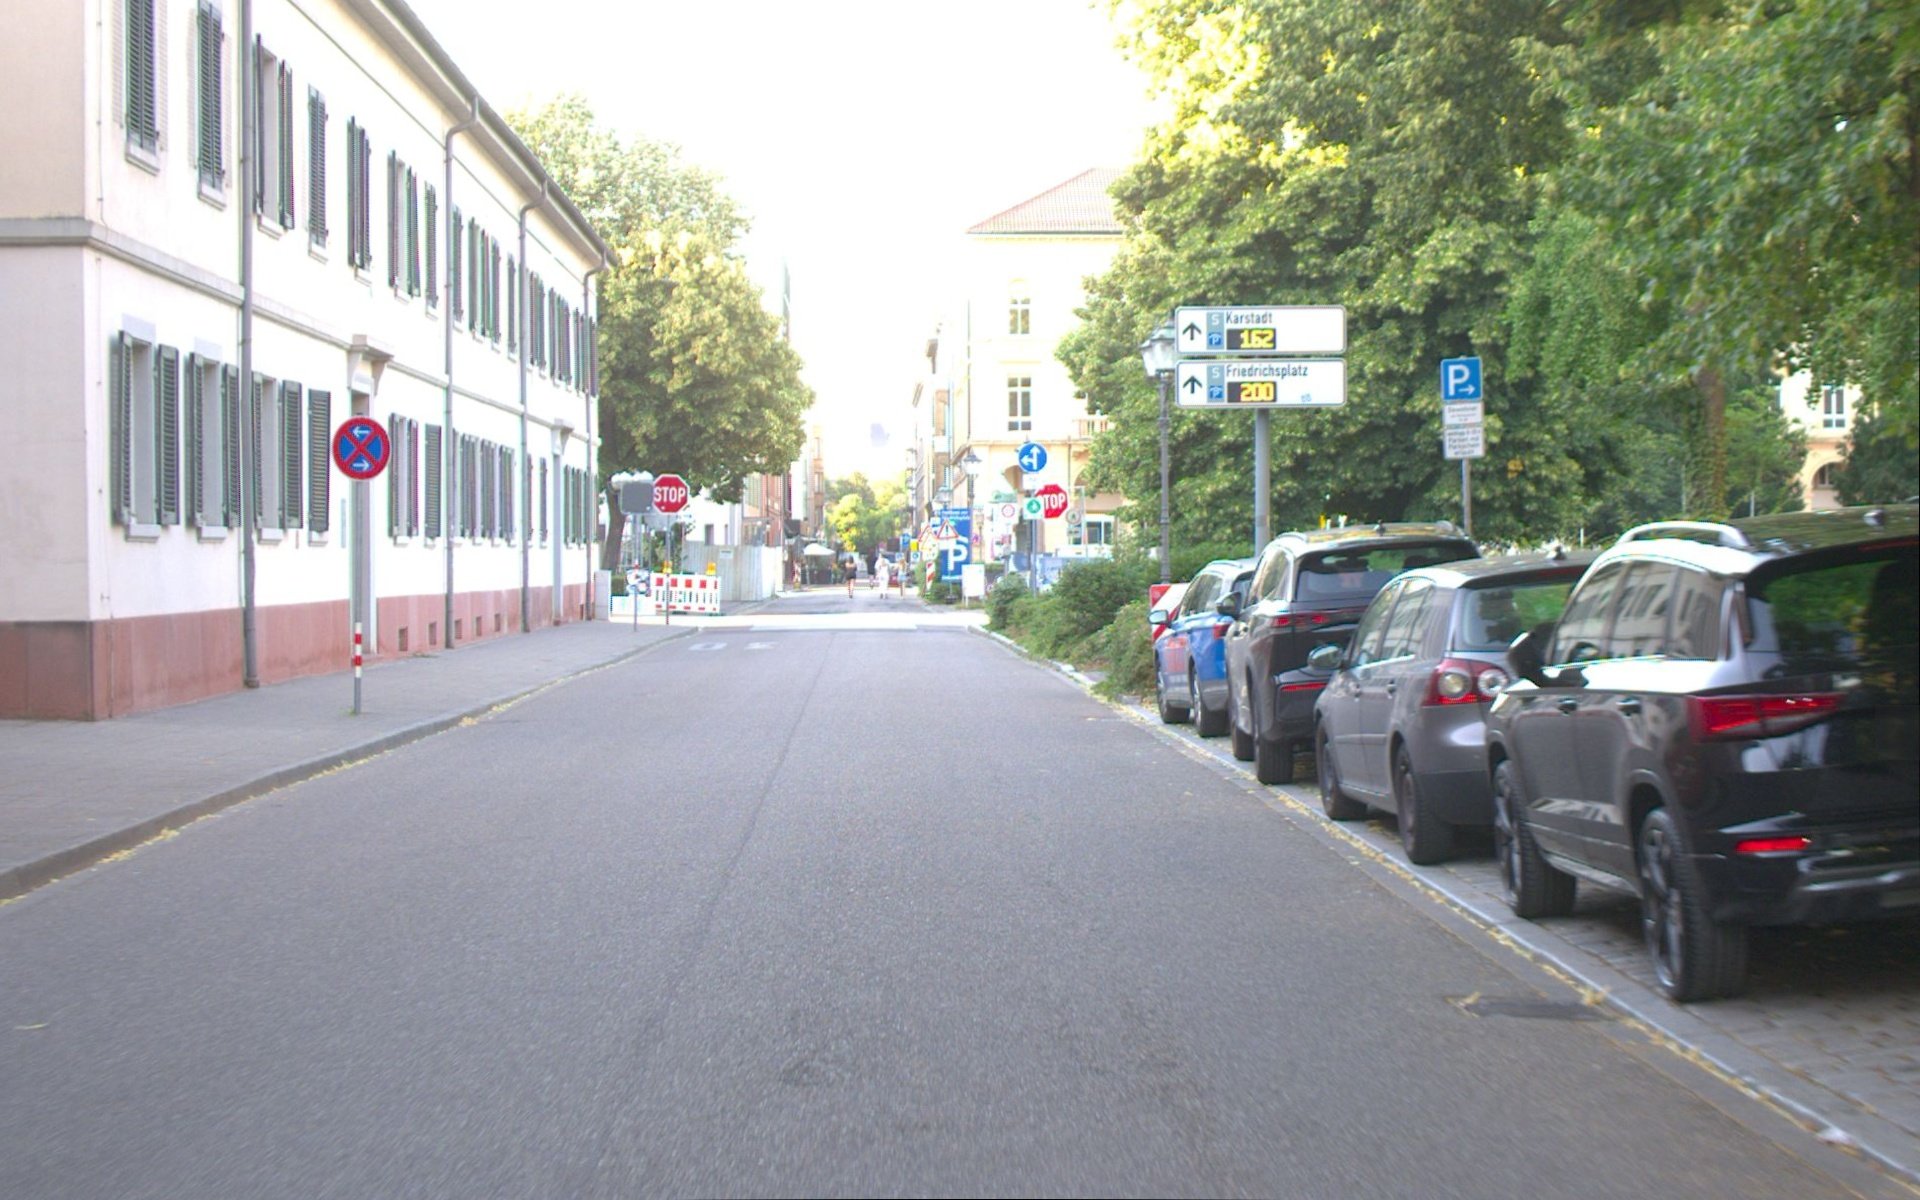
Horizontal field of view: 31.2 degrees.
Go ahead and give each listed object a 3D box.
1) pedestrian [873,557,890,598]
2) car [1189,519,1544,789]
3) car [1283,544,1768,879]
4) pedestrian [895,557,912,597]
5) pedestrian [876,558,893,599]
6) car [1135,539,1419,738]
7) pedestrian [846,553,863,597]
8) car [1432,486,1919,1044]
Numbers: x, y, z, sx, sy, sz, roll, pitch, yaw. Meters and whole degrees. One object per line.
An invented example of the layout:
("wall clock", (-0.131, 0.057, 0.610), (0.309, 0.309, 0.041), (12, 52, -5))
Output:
("pedestrian", (-3.157, -0.901, 138.870), (0.657, 1.630, 0.745), (-1, 1, -1))
("car", (2.692, 0.335, 23.795), (1.724, 1.646, 4.713), (-1, 0, -2))
("car", (2.851, 0.521, 18.217), (1.724, 1.533, 4.190), (-1, 0, -2))
("pedestrian", (-2.260, -0.922, 136.985), (0.657, 1.611, 0.745), (-1, 1, -1))
("pedestrian", (-2.992, -0.874, 136.896), (0.657, 1.611, 0.745), (-1, 1, -1))
("car", (2.671, 0.289, 29.976), (1.724, 1.483, 4.611), (-4, 1, -3))
("pedestrian", (-4.270, -1.006, 138.706), (0.657, 1.754, 0.745), (-1, 1, -1))
("car", (3.130, 0.453, 13.017), (1.807, 1.645, 4.419), (-5, 1, -2))
